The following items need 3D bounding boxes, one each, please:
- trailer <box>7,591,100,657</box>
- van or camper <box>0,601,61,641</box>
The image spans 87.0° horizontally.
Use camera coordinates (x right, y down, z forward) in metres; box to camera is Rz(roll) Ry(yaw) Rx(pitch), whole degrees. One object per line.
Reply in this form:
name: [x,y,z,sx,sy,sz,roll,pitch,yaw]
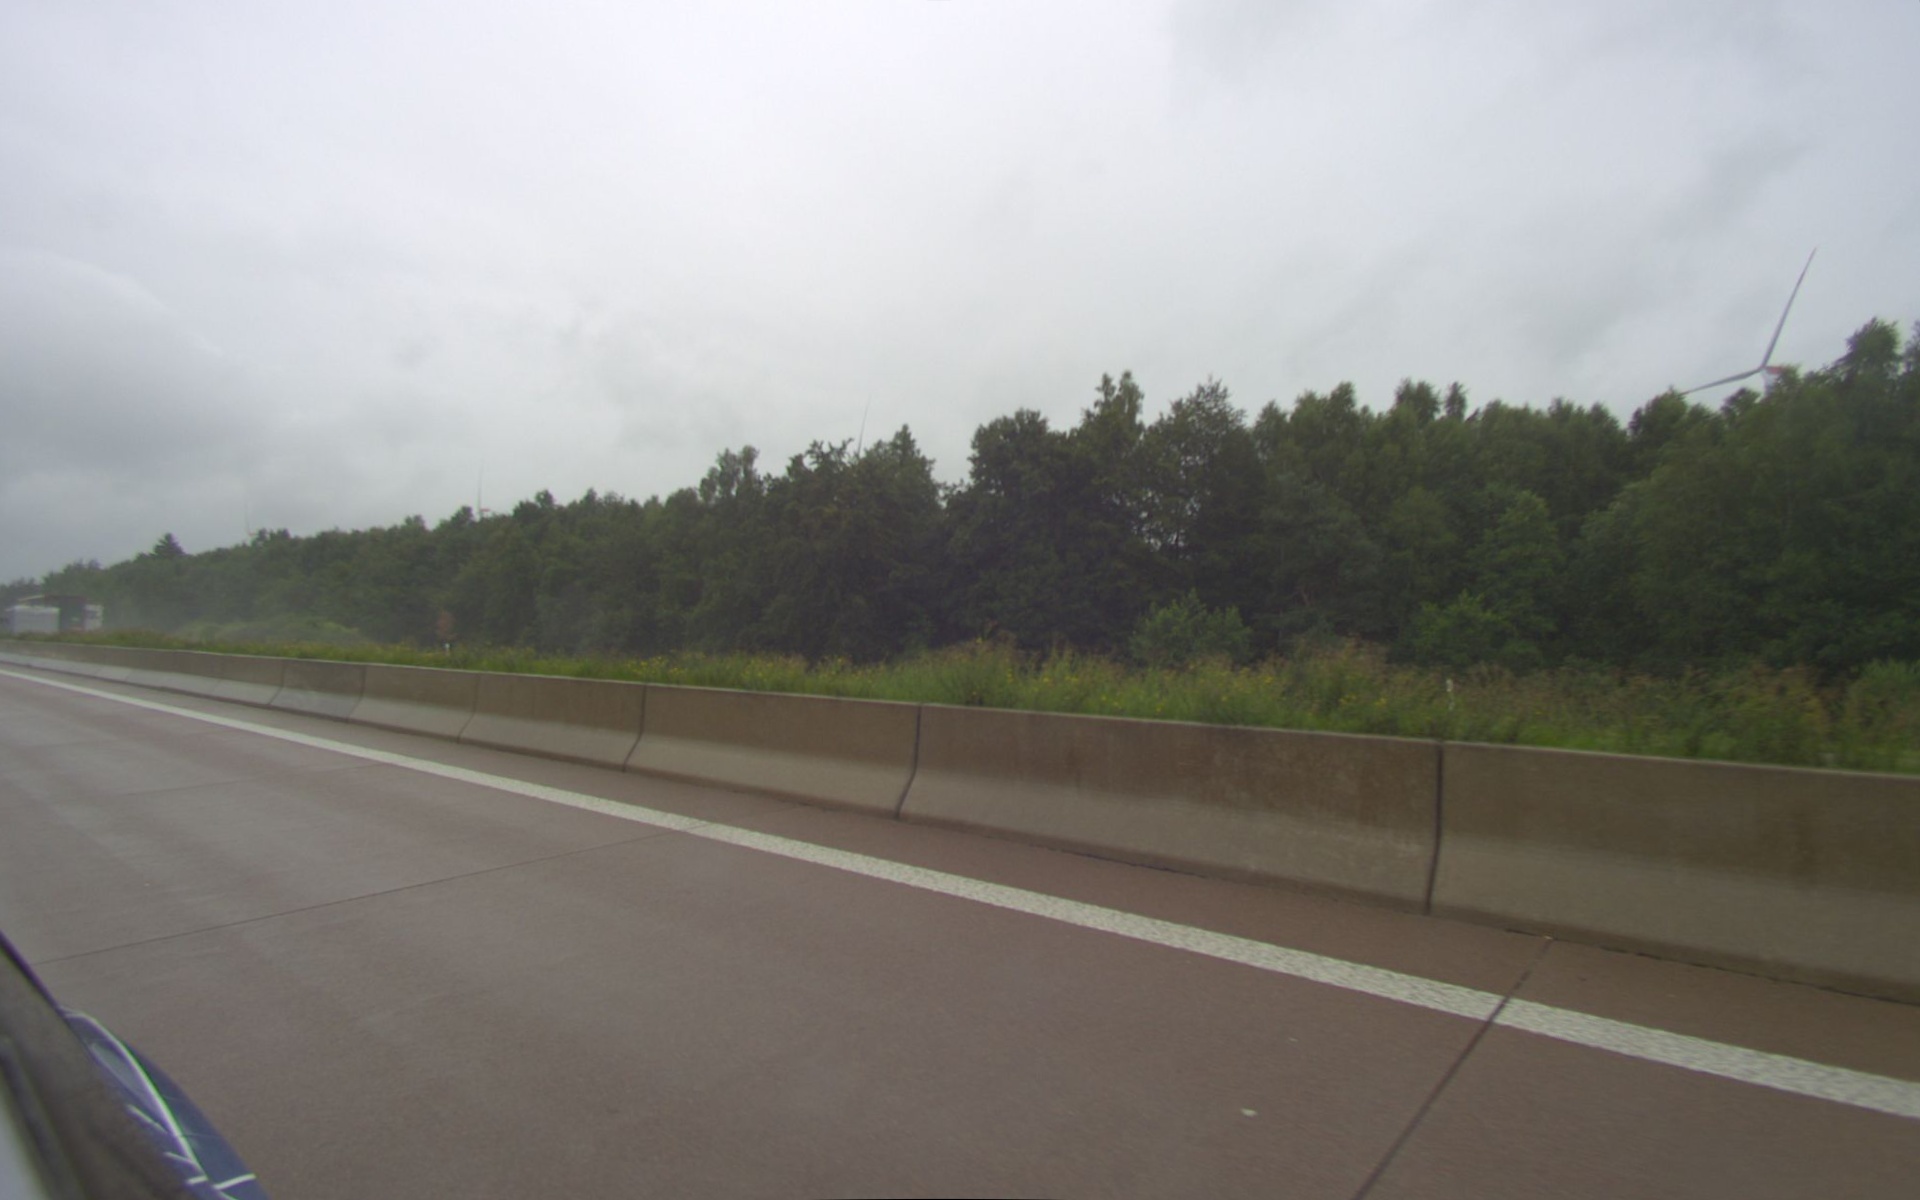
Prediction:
trailer: [-75.057,1.959,83.613,14.228,5.097,3.950,-2,-1,41]
van or camper: [-62.663,1.405,67.724,6.483,2.423,2.763,-1,1,40]
